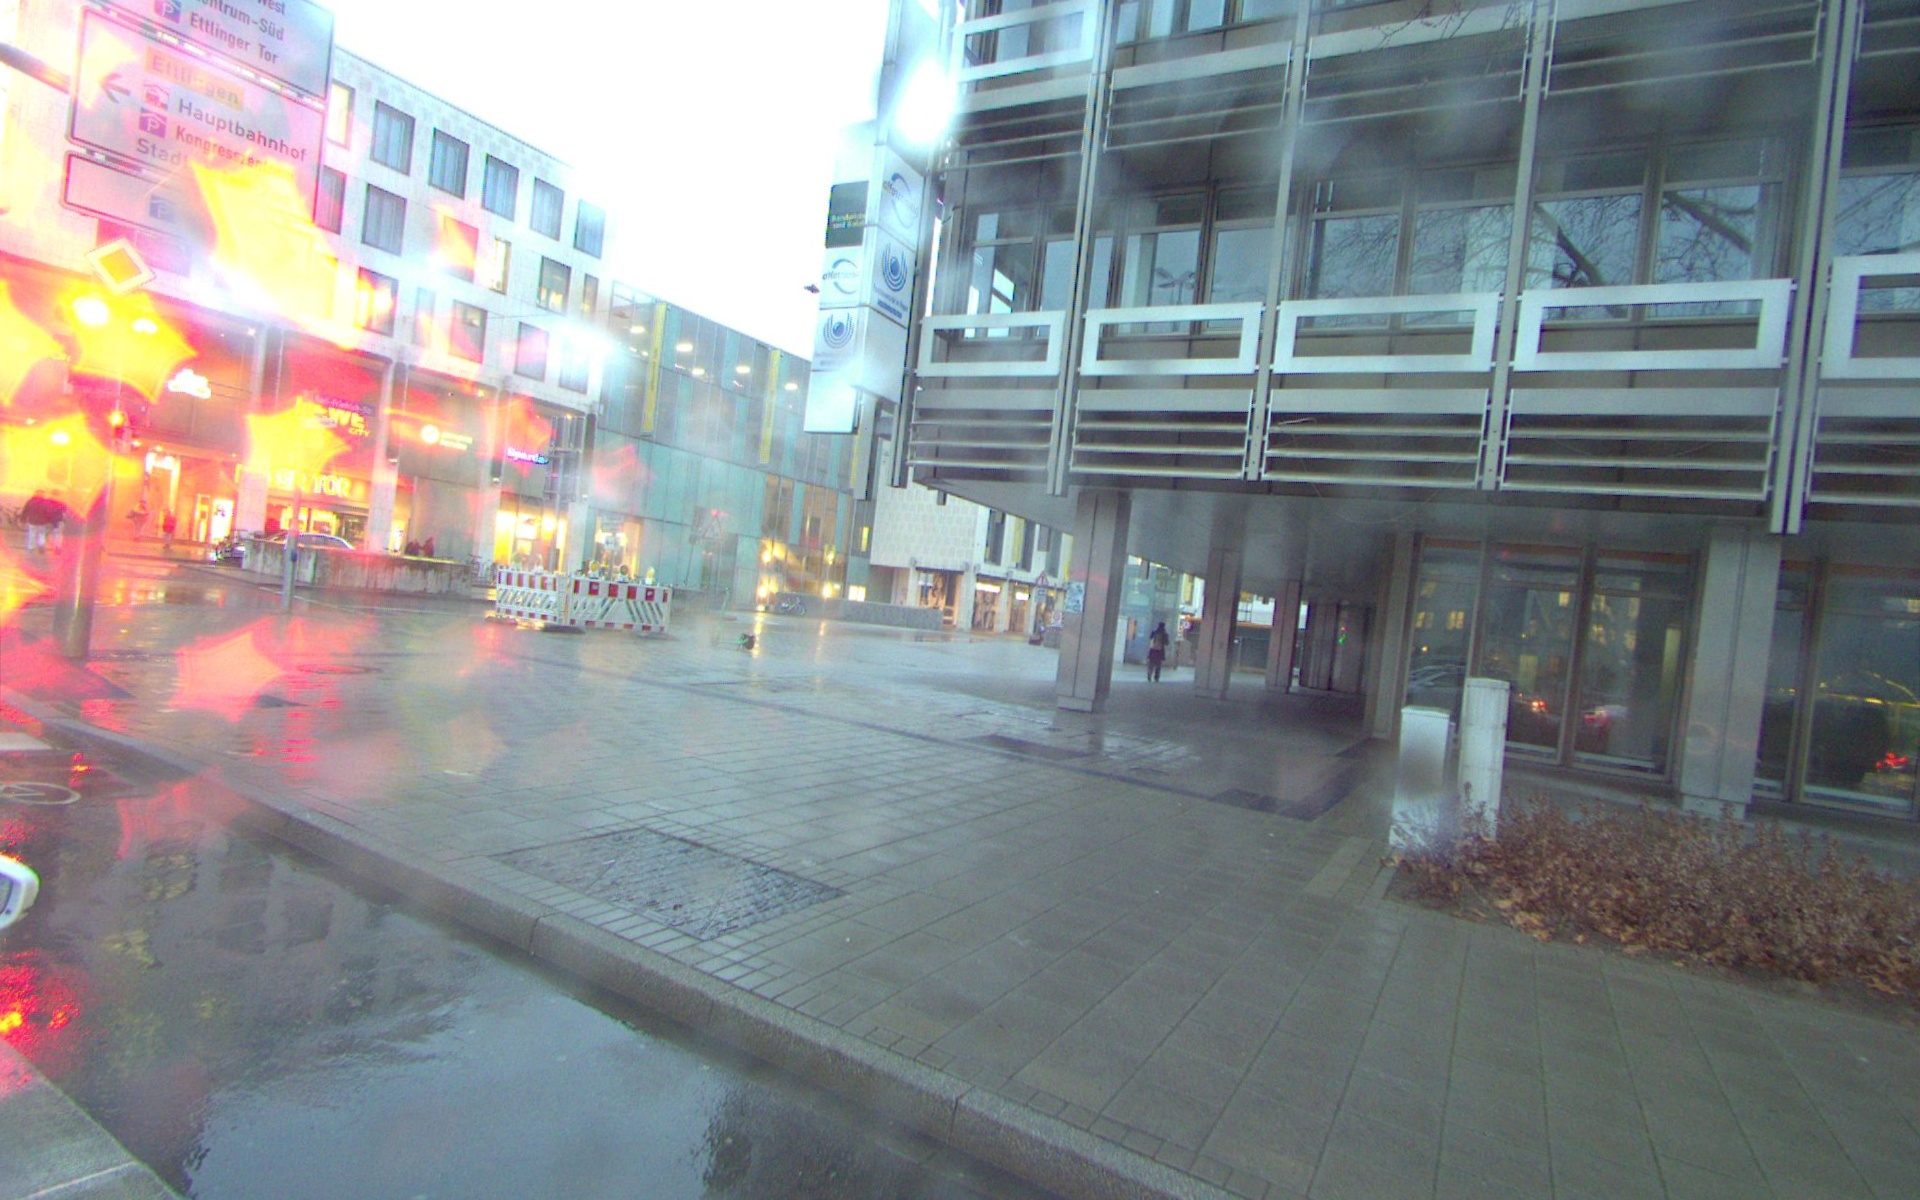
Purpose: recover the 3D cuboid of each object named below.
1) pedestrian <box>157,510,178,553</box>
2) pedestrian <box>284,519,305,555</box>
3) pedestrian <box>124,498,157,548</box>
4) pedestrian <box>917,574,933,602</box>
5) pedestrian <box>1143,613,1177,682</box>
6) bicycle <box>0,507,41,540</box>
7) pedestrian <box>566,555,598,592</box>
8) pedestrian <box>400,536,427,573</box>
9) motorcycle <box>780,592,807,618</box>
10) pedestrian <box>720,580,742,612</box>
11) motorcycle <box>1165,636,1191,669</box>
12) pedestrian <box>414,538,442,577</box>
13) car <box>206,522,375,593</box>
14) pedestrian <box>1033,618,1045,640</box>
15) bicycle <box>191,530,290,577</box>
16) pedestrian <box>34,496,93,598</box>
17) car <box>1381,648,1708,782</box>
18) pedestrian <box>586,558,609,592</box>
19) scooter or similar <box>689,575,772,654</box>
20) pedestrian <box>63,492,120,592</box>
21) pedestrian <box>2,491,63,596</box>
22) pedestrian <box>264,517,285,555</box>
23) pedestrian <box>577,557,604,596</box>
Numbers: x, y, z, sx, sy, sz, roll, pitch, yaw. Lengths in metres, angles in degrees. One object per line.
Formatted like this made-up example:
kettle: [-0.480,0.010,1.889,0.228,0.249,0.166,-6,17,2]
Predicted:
pedestrian: [-31.897,-2.744,40.492,0.480,1.683,0.454,6,1,-28]
pedestrian: [-34.212,-3.213,51.700,0.729,1.740,0.733,6,1,-31]
pedestrian: [-35.651,-3.357,43.743,0.688,2.038,0.845,7,1,40]
pedestrian: [-2.224,-0.771,64.080,0.573,1.703,0.542,6,-1,38]
pedestrian: [5.551,1.323,27.932,0.678,1.796,0.660,7,-1,16]
bicycle: [-36.443,-2.987,38.553,0.515,1.082,1.651,7,-2,28]
pedestrian: [-19.117,-1.330,50.868,0.810,1.703,1.032,6,-1,31]
pedestrian: [-26.507,-2.208,48.776,0.519,1.705,0.894,6,0,31]
motorcycle: [-10.142,0.299,61.180,0.585,1.368,1.491,7,-1,36]
pedestrian: [-13.141,-0.212,57.771,0.770,1.703,0.742,6,-1,38]
motorcycle: [9.921,2.384,45.817,0.584,1.368,1.493,7,-1,29]
pedestrian: [-25.416,-2.034,48.080,0.770,1.703,0.742,6,-1,38]
car: [-21.675,-1.342,32.698,1.968,1.636,3.994,6,-2,33]
pedestrian: [6.340,2.320,80.674,0.573,1.703,0.542,6,-1,38]
bicycle: [-26.337,-1.682,36.884,0.941,1.375,2.718,6,-1,28]
pedestrian: [-22.779,-1.352,25.571,0.745,2.469,0.691,7,-1,31]
car: [8.712,1.629,15.229,3.935,1.327,1.994,6,1,33]
pedestrian: [-20.069,-1.369,55.695,0.786,1.760,0.767,6,1,-43]
scooter or similar: [-4.603,0.289,20.173,1.470,1.368,0.593,7,-1,32]
pedestrian: [-22.634,-1.502,26.222,0.778,2.477,0.694,7,-1,32]
pedestrian: [-22.871,-1.395,24.809,0.745,2.469,0.716,7,-1,31]
pedestrian: [-32.446,-3.043,47.624,0.360,1.706,0.616,7,1,28]
pedestrian: [-17.621,-1.113,47.984,0.770,1.703,0.742,6,-1,38]
